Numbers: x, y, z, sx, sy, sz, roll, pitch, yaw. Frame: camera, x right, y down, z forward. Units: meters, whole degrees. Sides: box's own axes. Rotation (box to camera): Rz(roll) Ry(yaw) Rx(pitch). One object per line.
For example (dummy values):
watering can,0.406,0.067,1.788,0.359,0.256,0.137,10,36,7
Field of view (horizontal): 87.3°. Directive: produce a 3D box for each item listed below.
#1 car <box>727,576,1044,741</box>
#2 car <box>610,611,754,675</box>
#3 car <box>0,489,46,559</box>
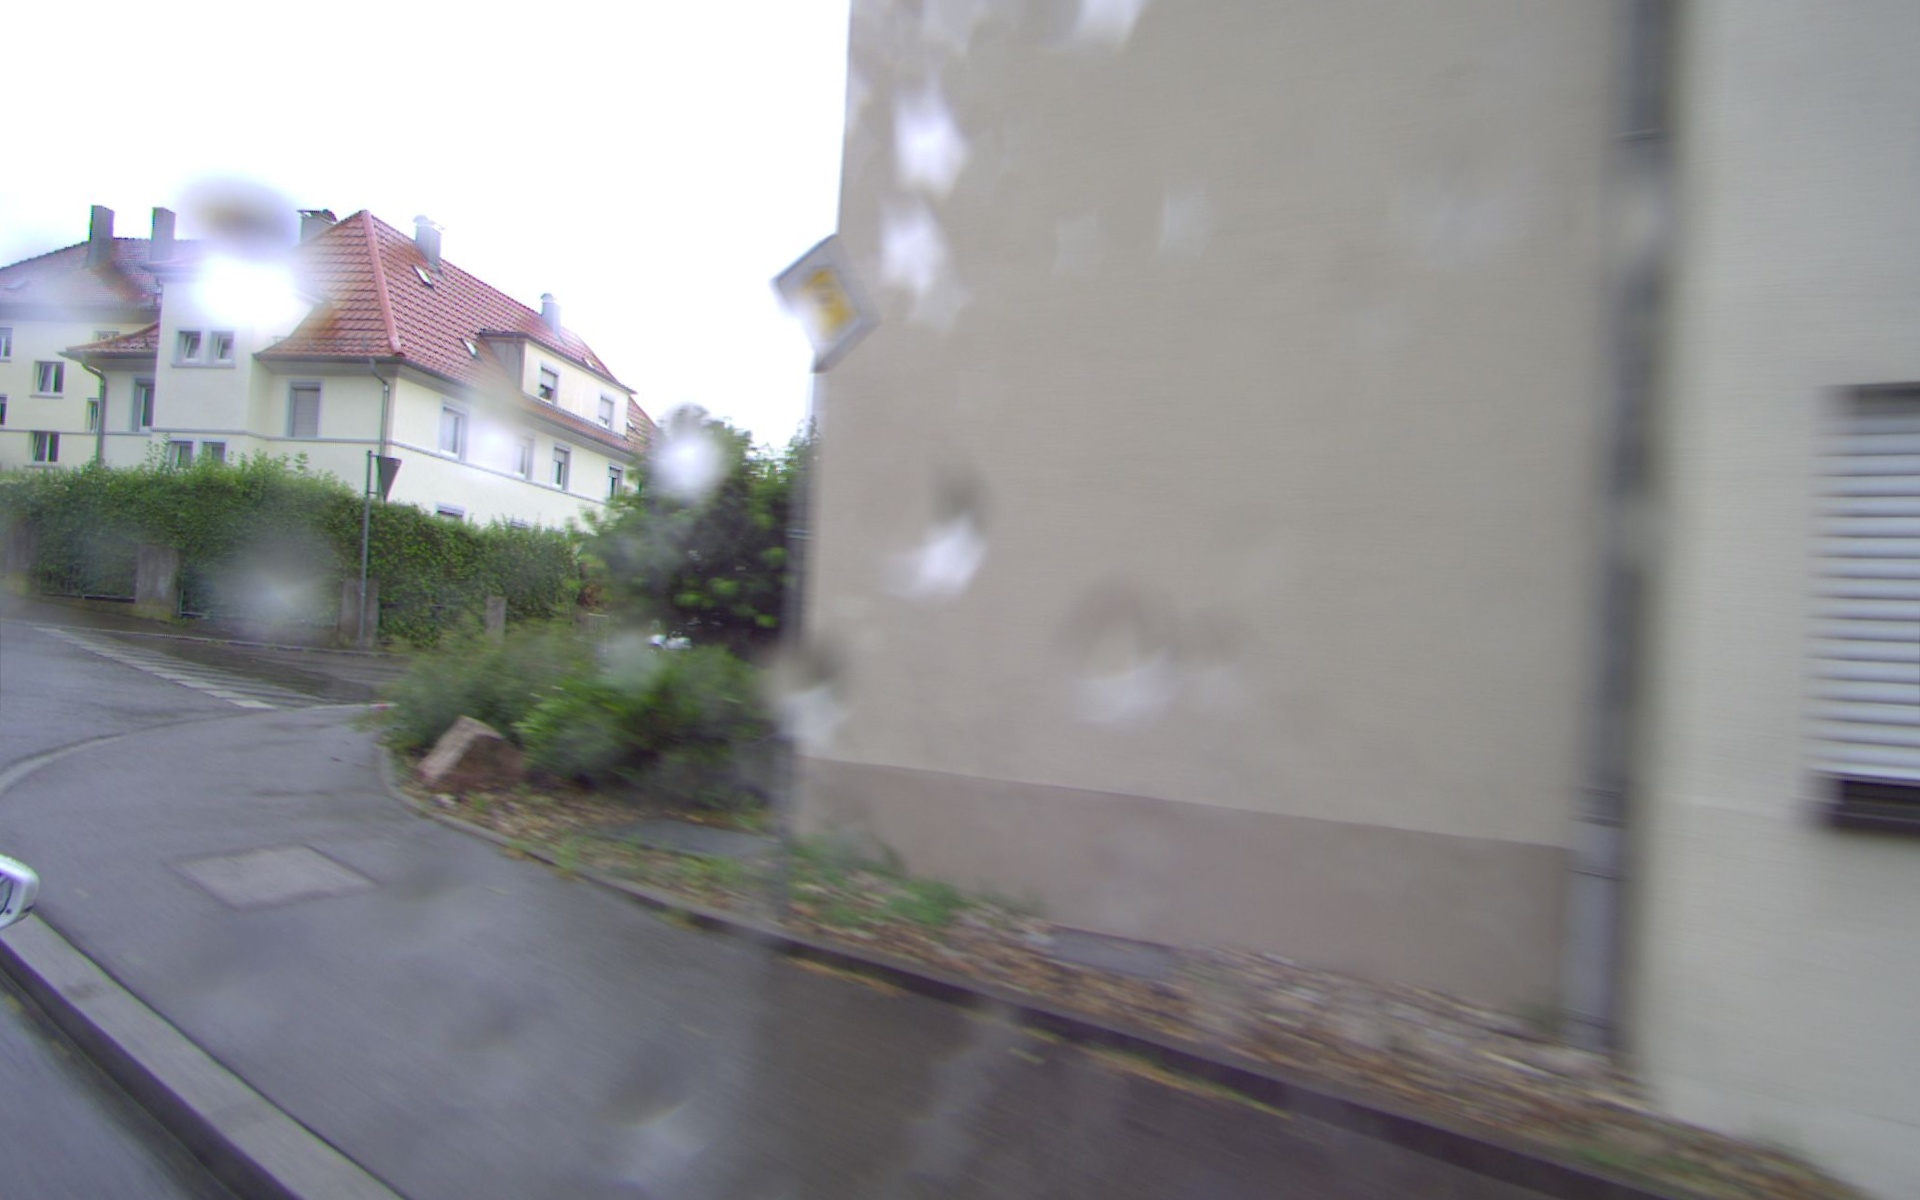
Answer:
car,-0.736,0.643,11.004,2.935,1.387,1.778,5,-4,15
car,-8.375,1.304,30.248,3.943,1.435,1.994,7,-4,-19
car,-31.554,-2.635,31.322,1.962,2.035,4.007,5,-4,17
